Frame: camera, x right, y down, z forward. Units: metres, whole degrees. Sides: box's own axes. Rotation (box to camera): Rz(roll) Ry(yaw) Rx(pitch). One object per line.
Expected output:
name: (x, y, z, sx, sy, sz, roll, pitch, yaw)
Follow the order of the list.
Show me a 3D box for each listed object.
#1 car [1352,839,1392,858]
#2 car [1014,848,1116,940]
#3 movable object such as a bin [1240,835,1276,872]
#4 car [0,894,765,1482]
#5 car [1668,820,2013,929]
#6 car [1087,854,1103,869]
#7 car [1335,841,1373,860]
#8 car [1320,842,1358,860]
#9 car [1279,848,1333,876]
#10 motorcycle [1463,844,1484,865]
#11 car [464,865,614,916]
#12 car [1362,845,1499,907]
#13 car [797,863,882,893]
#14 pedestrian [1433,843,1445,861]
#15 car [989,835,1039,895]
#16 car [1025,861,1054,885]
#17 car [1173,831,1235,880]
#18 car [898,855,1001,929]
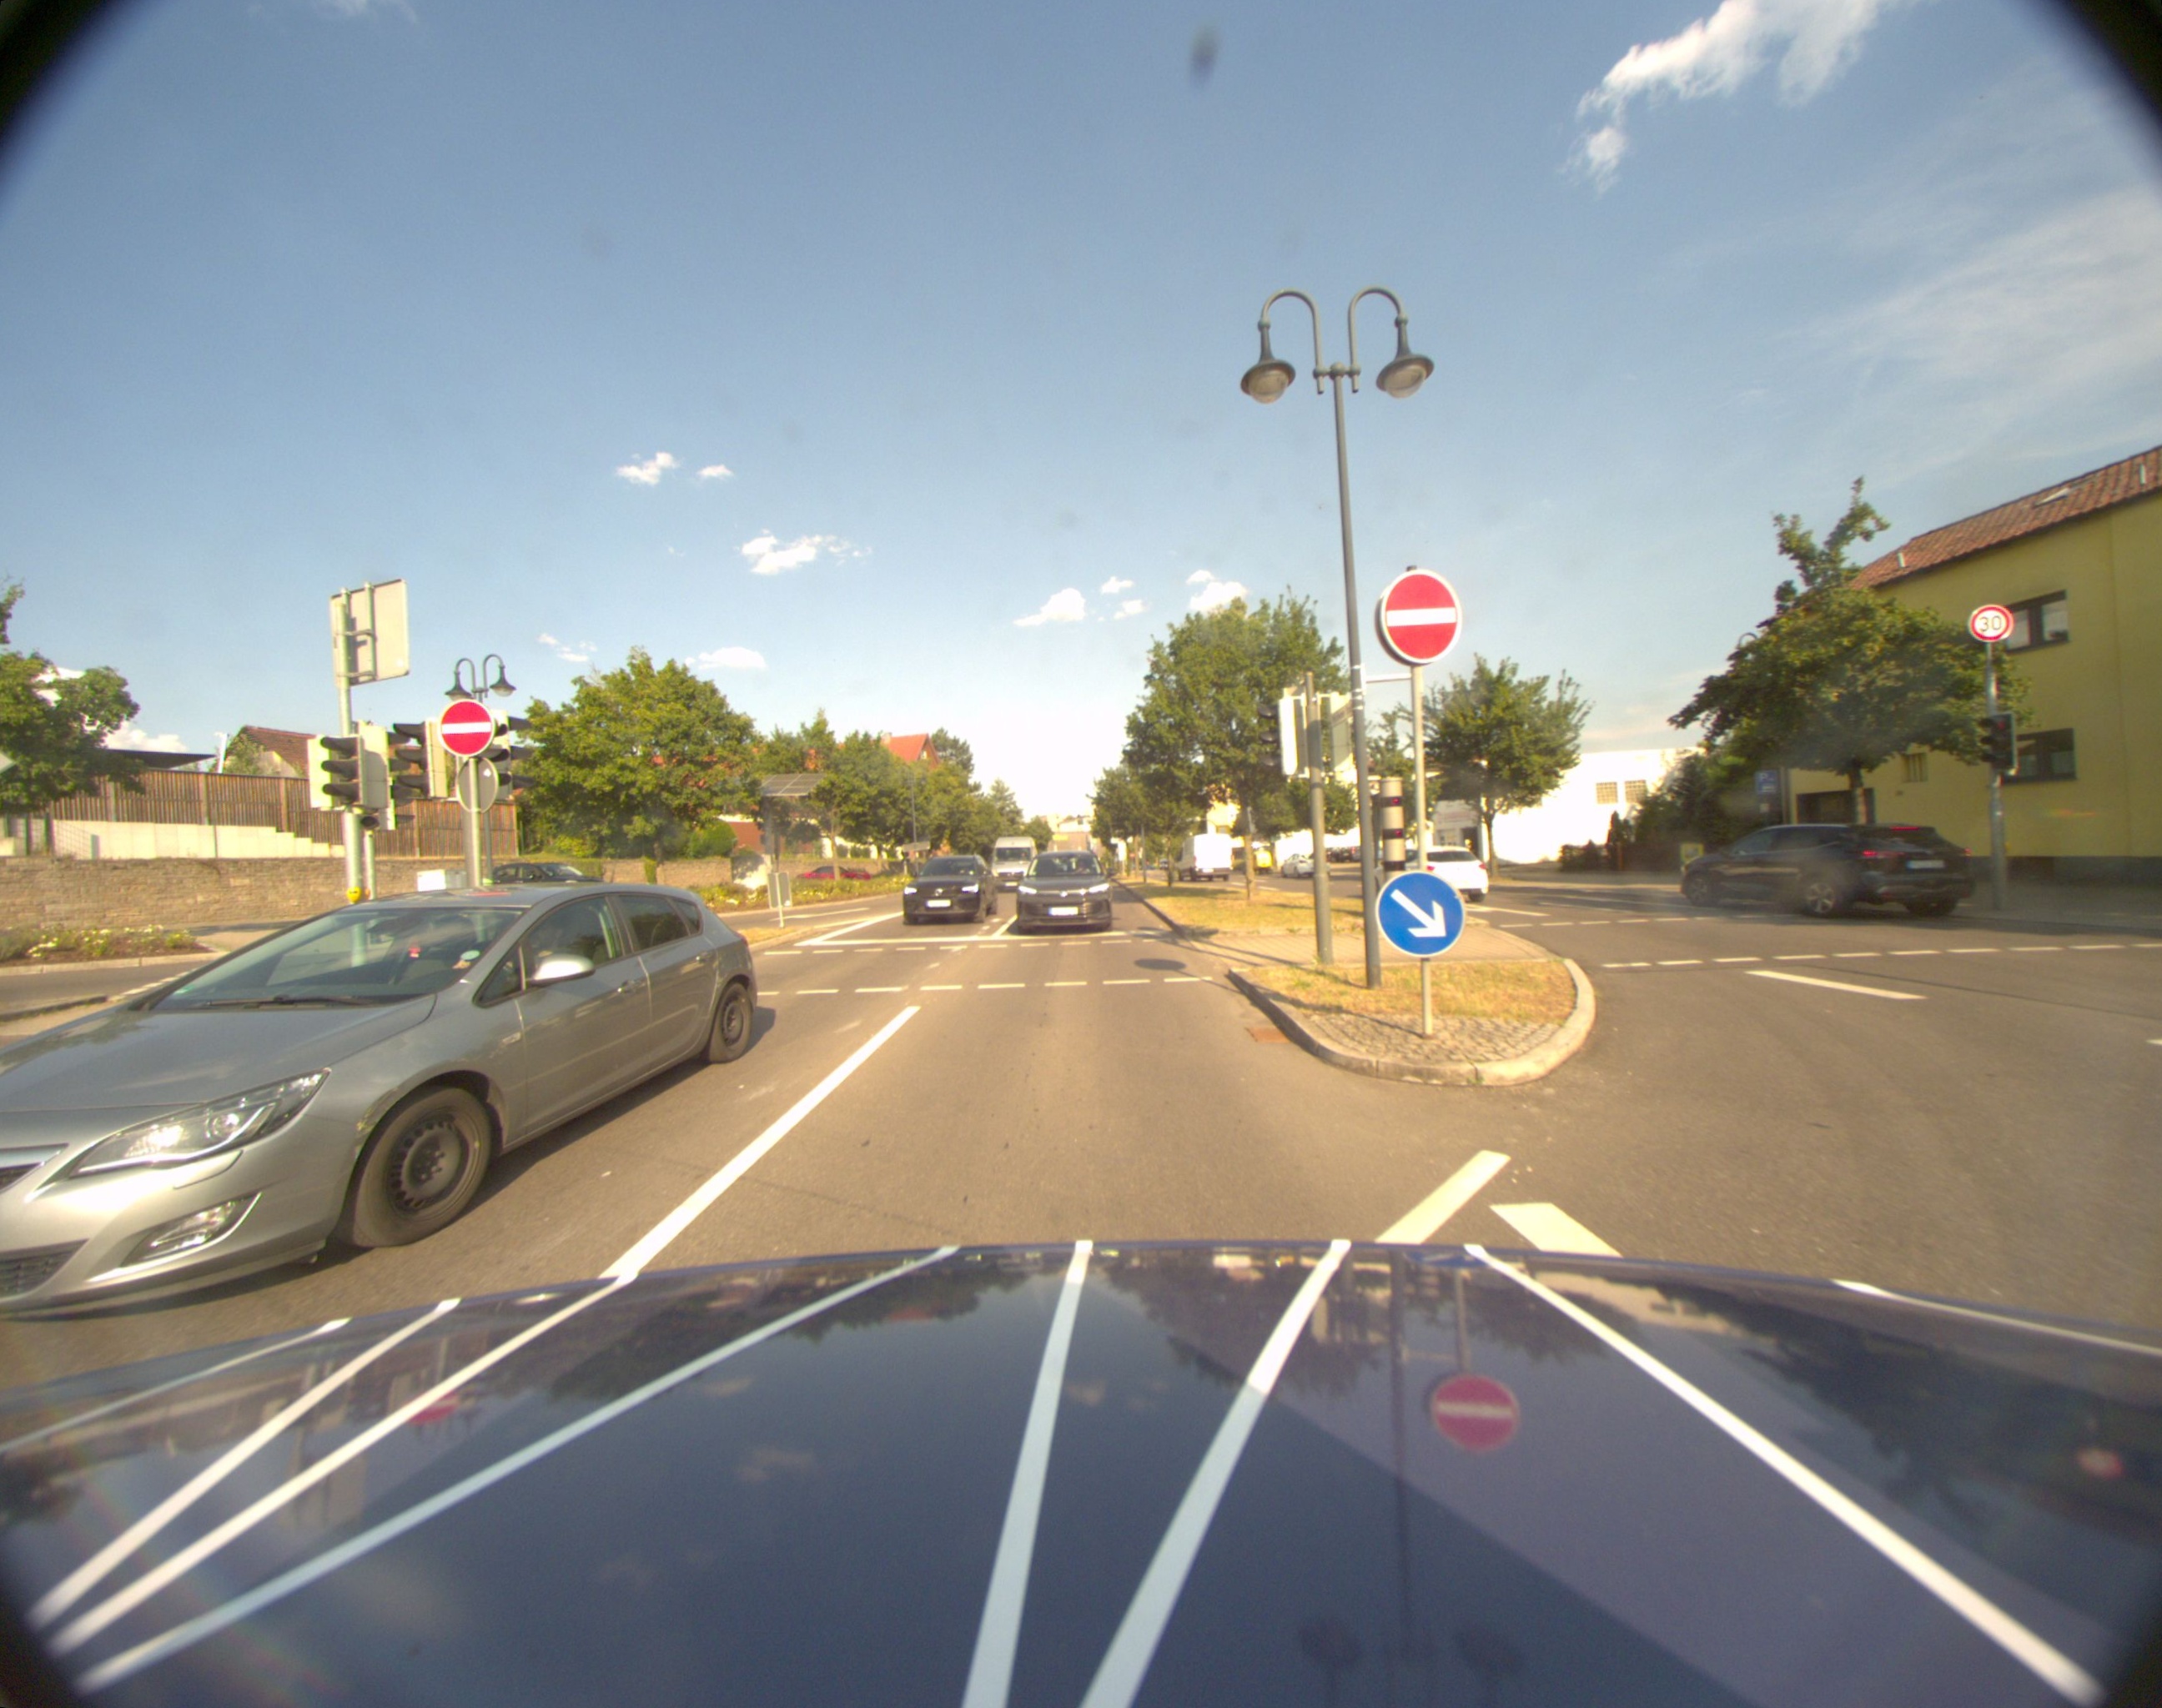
car: (24.889, -0.463, 64.874, 3.438, 1.534, 1.617, -2, 0, -38)
car: (-0.271, 0.735, 15.801, 1.768, 1.582, 4.056, -3, 0, 1)
movable object such as a bin: (12.488, -0.026, 53.874, 1.556, 2.447, 4.978, -1, 0, 2)
car: (-3.529, 1.067, 4.186, 1.651, 1.414, 4.144, -3, 0, 2)
car: (13.239, 0.317, 13.755, 1.859, 1.586, 4.461, -2, 0, 3)
car: (1.938, 1.028, 102.529, 1.816, 1.861, 4.001, -2, 0, 4)
car: (24.448, -0.359, 68.073, 3.438, 1.555, 1.583, -2, 0, -38)
car: (23.971, -0.268, 70.658, 3.417, 1.616, 1.857, -1, 0, -41)
car: (12.546, 0.435, 42.644, 1.695, 1.405, 4.213, -2, 0, 0)
motorcycle: (21.764, 0.018, 42.110, 0.549, 1.092, 2.052, -3, -1, 40)
car: (-17.839, 1.190, 25.058, 4.072, 1.448, 1.680, -2, 0, 13)
car: (9.081, 0.536, 20.126, 1.761, 1.403, 4.000, -2, 0, 0)
car: (-13.079, 1.266, 41.210, 3.994, 1.422, 1.749, -2, 0, 8)
pedestrian: (27.367, -0.149, 58.039, 0.596, 1.332, 0.584, -2, 0, -7)
car: (-3.175, 0.485, 37.236, 2.040, 2.642, 6.647, -1, 0, -2)
car: (-2.988, 1.335, 55.294, 1.768, 1.582, 4.056, -3, 0, 1)
car: (6.732, 0.107, 42.201, 2.090, 2.461, 5.477, -2, 0, -4)
car: (-3.172, 0.863, 19.084, 1.792, 1.596, 4.056, -2, 0, 1)
